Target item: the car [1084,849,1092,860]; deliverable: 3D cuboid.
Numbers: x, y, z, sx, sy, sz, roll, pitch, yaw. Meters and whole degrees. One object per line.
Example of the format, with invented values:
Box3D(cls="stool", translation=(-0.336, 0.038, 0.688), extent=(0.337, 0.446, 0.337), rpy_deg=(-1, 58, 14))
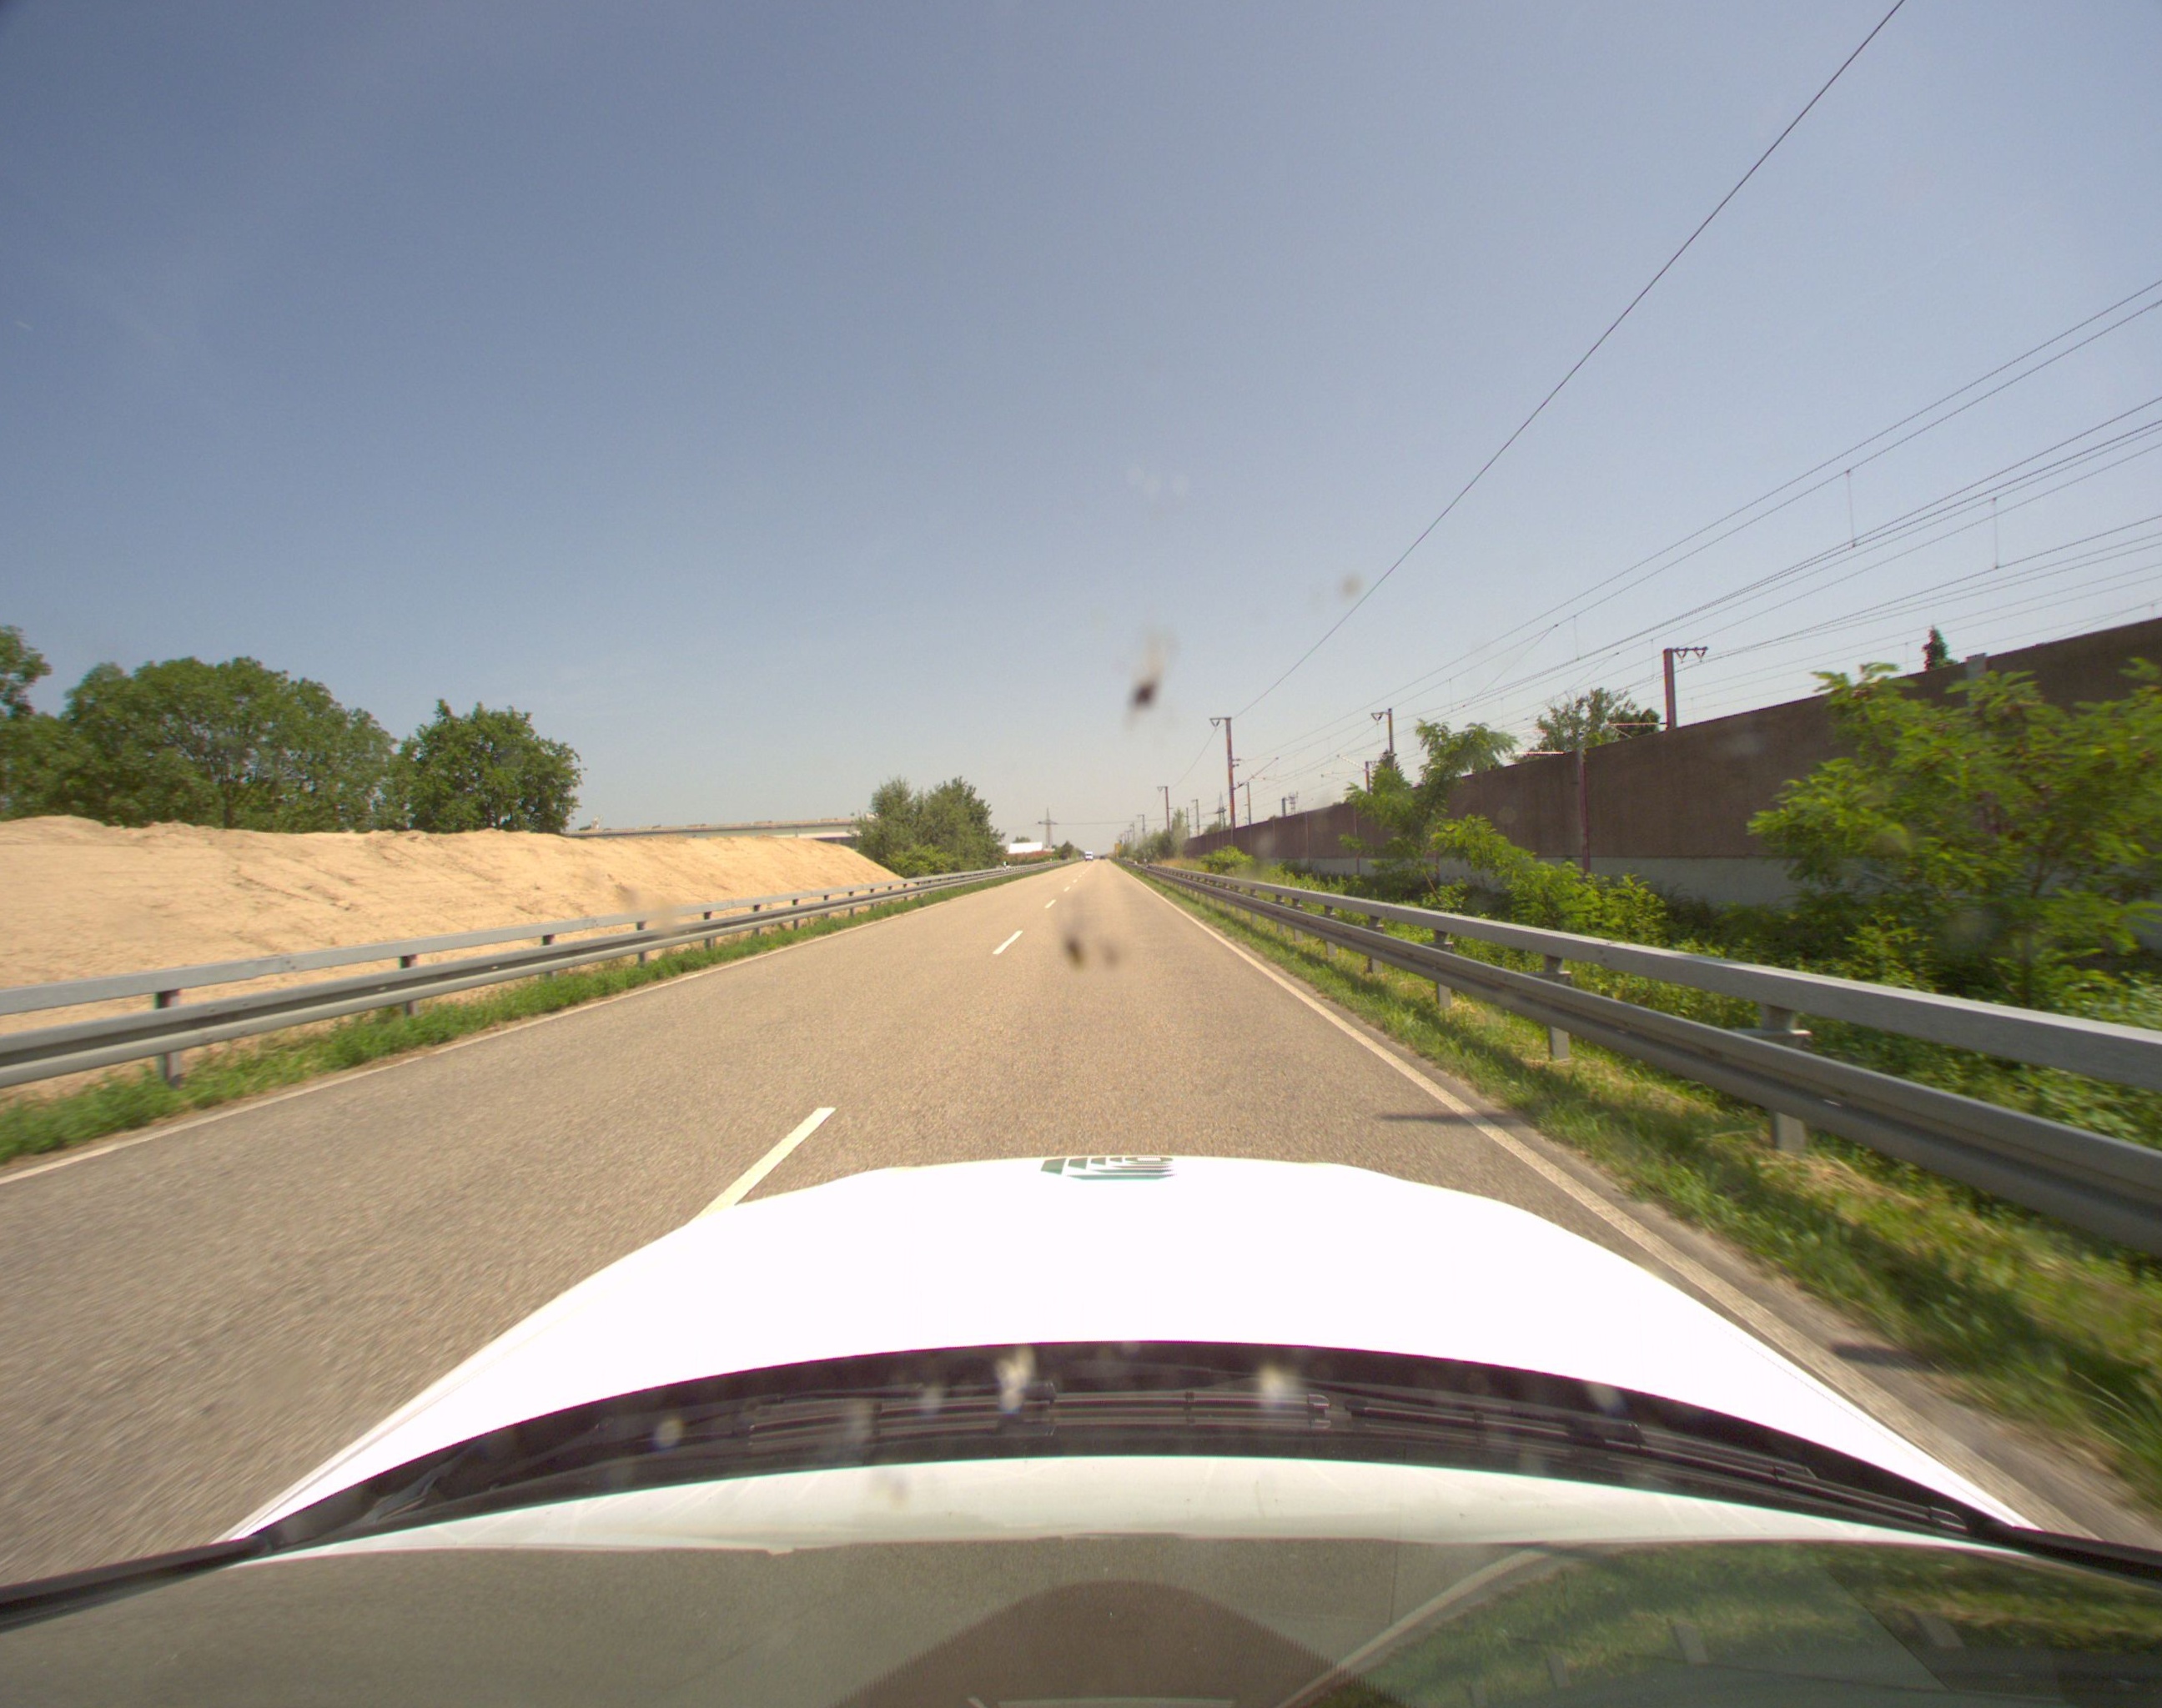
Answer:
Box3D(cls="car", translation=(1.872, 0.195, 215.403), extent=(2.072, 2.962, 6.731), rpy_deg=(-1, 0, 1))
